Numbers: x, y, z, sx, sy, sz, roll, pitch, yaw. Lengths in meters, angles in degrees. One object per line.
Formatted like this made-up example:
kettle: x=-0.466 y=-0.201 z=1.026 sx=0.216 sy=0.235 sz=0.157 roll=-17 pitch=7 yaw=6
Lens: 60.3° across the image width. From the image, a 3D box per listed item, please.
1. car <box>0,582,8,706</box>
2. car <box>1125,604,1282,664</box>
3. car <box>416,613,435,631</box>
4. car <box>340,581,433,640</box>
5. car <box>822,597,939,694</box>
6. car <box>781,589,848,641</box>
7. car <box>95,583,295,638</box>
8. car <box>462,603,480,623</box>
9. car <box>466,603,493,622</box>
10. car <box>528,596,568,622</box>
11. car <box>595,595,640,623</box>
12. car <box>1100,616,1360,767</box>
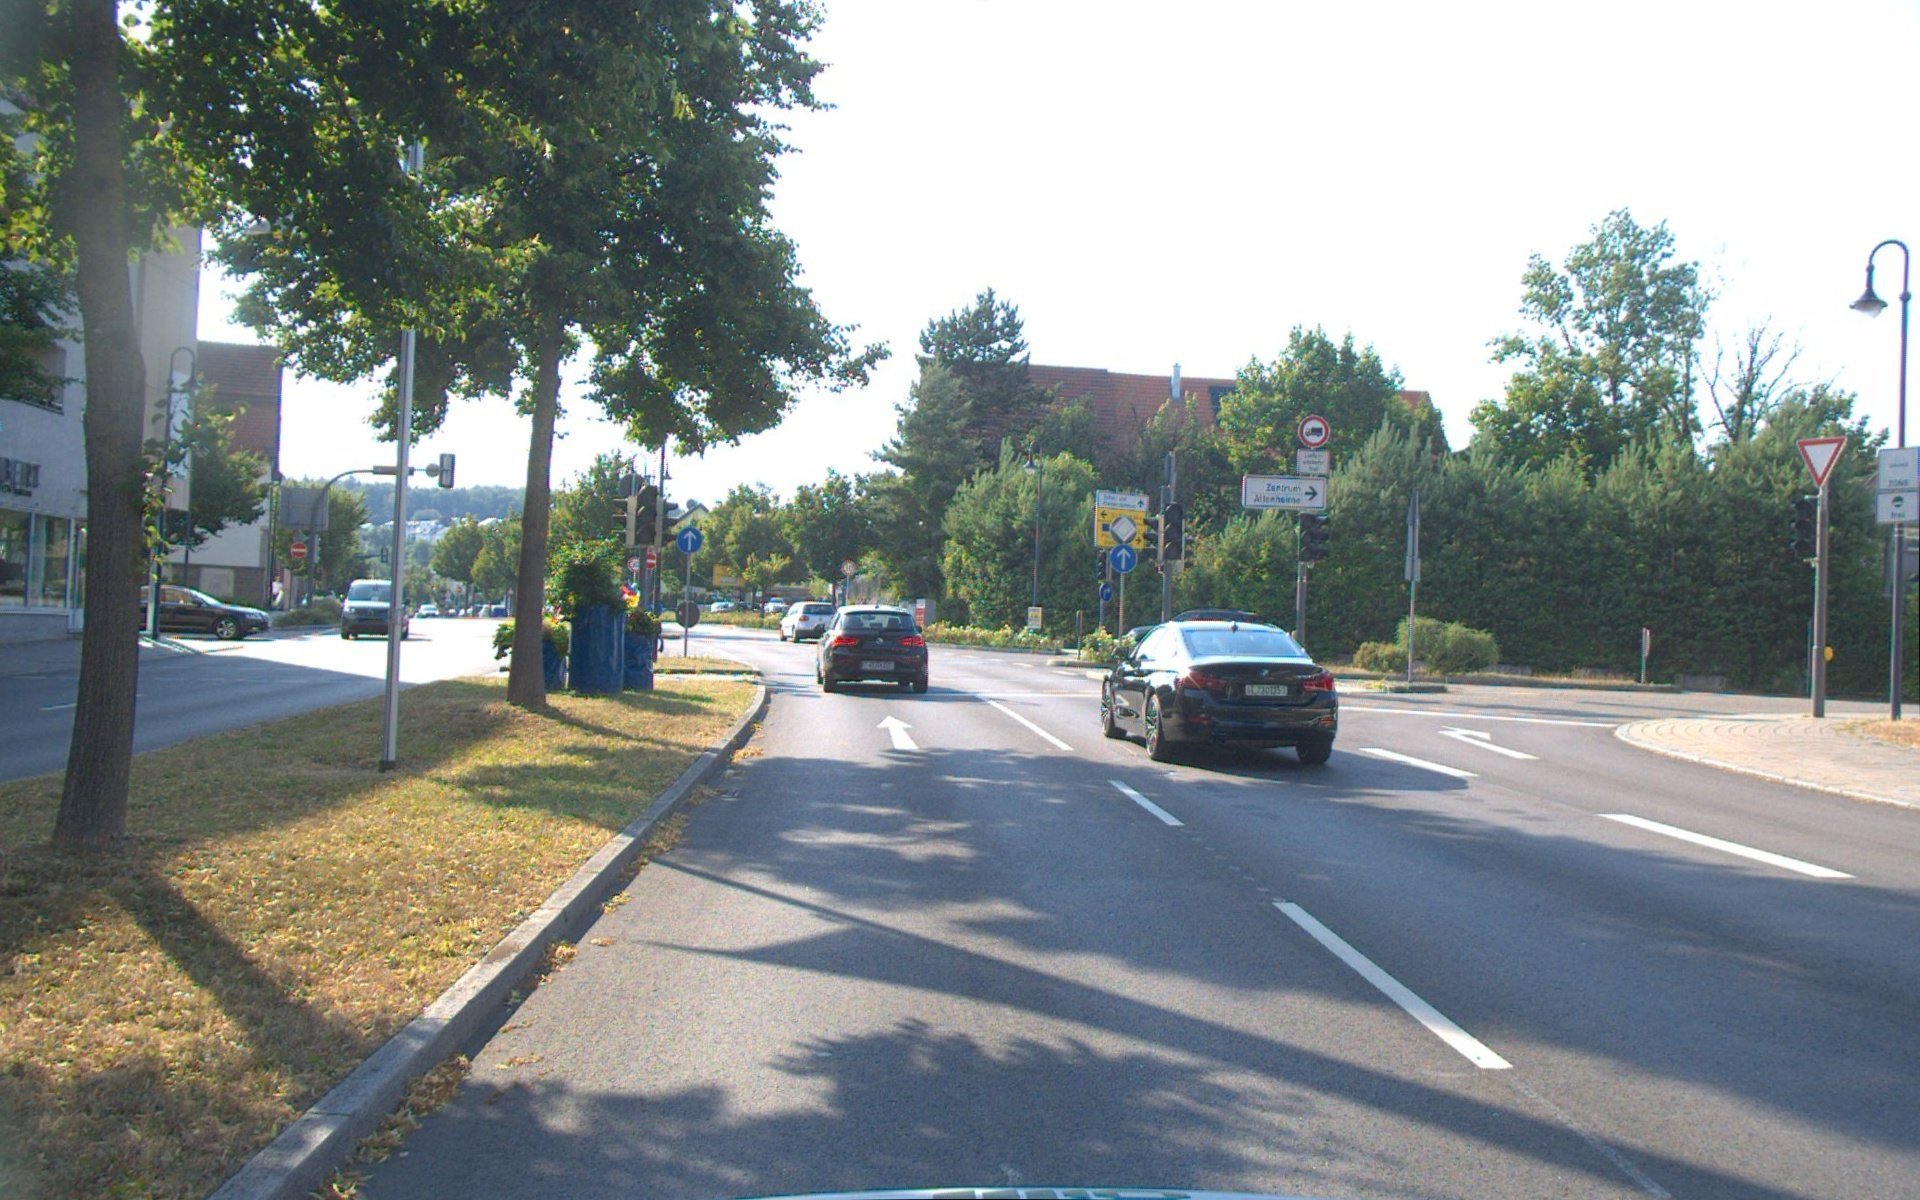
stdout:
car: x=-12.391 y=0.503 z=17.691 sx=1.816 sy=1.512 sz=4.991 roll=1 pitch=-1 yaw=-5
car: x=7.110 y=0.971 z=48.413 sx=4.179 sy=1.594 sz=1.789 roll=1 pitch=0 yaw=31
car: x=-54.707 y=2.230 z=169.296 sx=1.704 sy=1.708 sz=3.977 roll=1 pitch=-1 yaw=-19
car: x=-18.011 y=0.336 z=52.141 sx=1.818 sy=1.767 sz=4.913 roll=1 pitch=-1 yaw=-8
car: x=-1.314 y=0.759 z=28.943 sx=1.685 sy=1.516 sz=4.353 roll=2 pitch=-1 yaw=2
car: x=-5.442 y=0.547 z=61.355 sx=1.891 sy=1.800 sz=4.440 roll=1 pitch=0 yaw=-12
car: x=-21.510 y=0.299 z=46.709 sx=4.773 sy=1.462 sz=1.911 roll=1 pitch=-1 yaw=-12
car: x=-51.756 y=1.347 z=175.022 sx=1.744 sy=2.049 sz=3.981 roll=1 pitch=0 yaw=-17
car: x=-48.116 y=1.246 z=165.705 sx=2.185 sy=1.800 sz=4.426 roll=1 pitch=-1 yaw=-21
car: x=-29.246 y=0.635 z=117.280 sx=2.185 sy=1.800 sz=4.426 roll=1 pitch=-1 yaw=-21
car: x=-22.620 y=0.586 z=109.225 sx=2.185 sy=1.800 sz=4.426 roll=1 pitch=-1 yaw=-21
car: x=2.721 y=0.883 z=17.666 sx=1.882 sy=1.388 sz=4.350 roll=1 pitch=-1 yaw=-3
